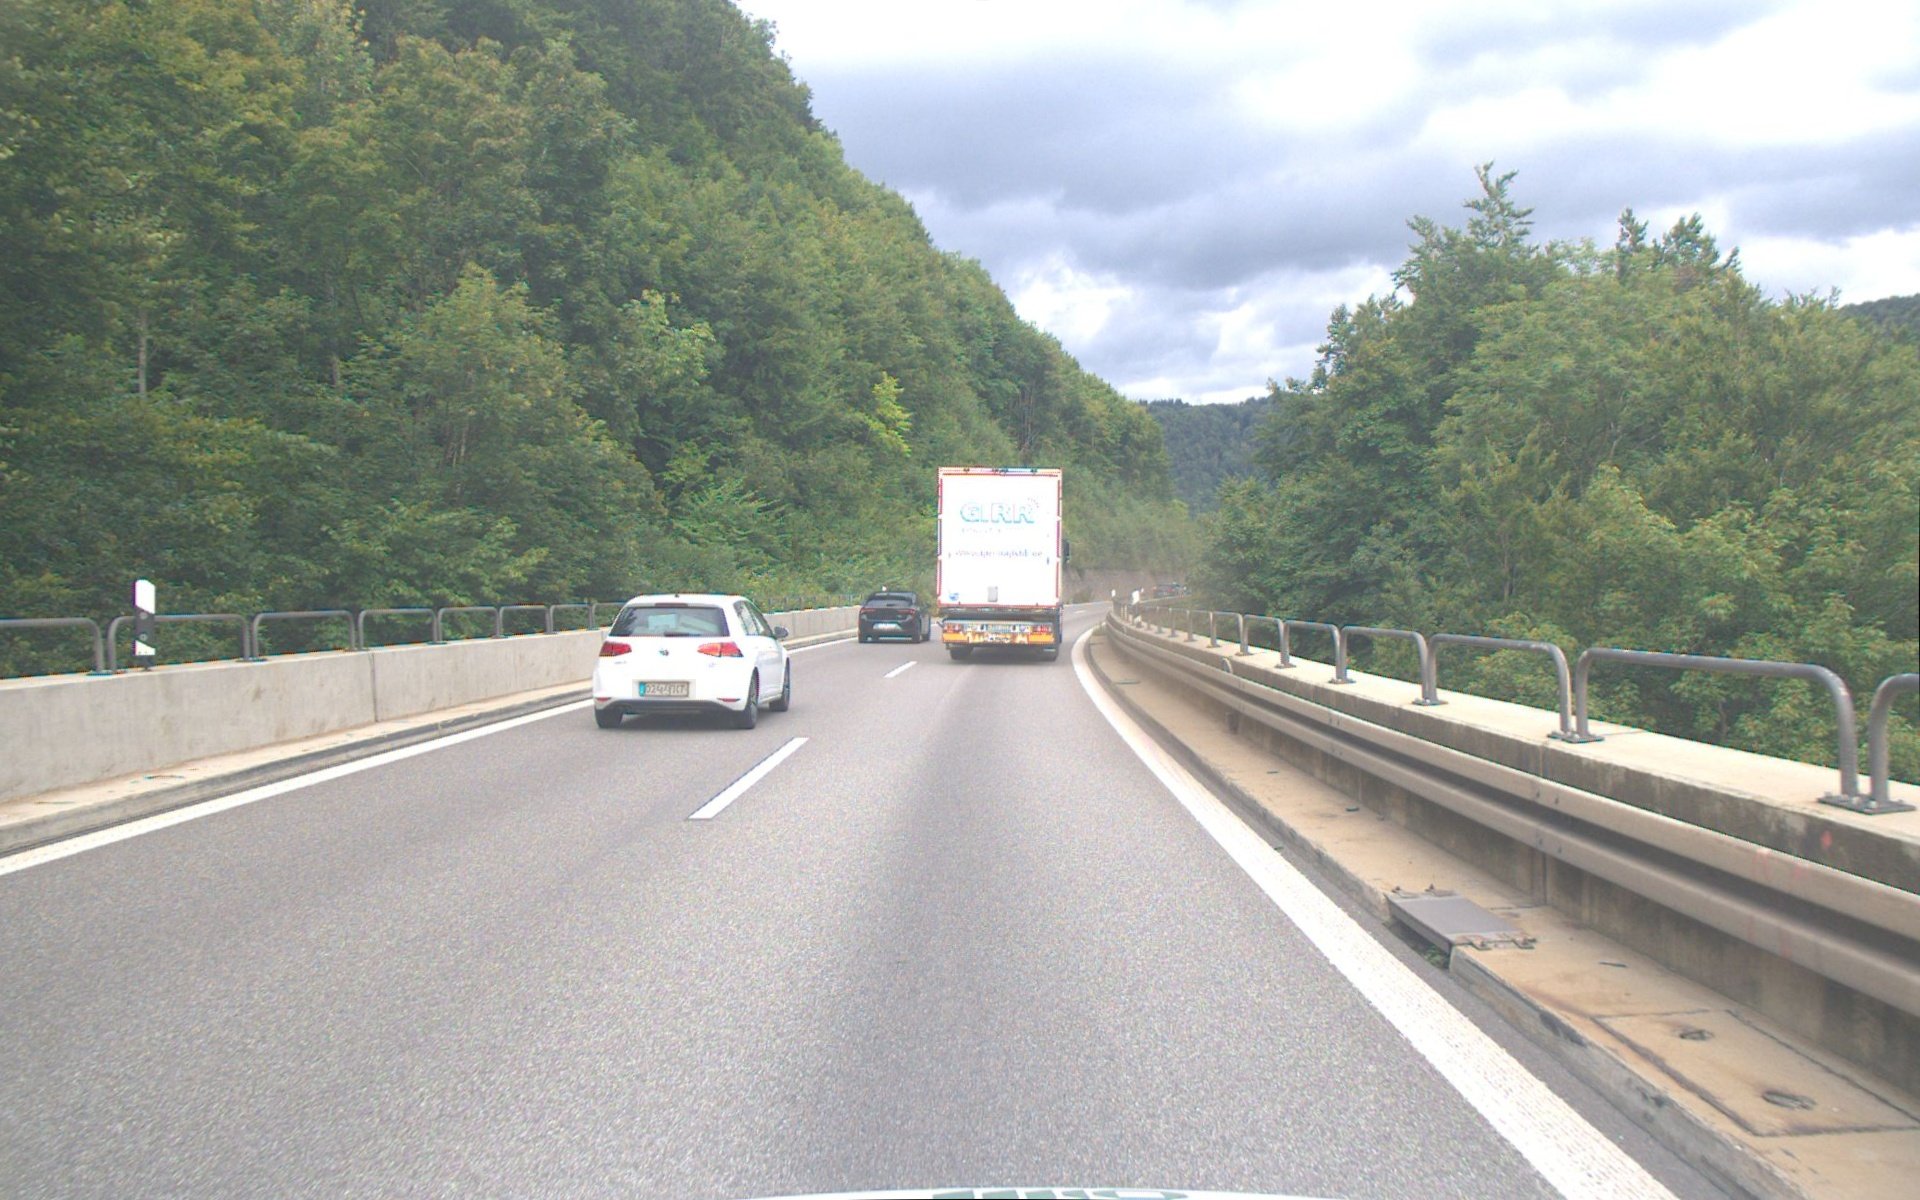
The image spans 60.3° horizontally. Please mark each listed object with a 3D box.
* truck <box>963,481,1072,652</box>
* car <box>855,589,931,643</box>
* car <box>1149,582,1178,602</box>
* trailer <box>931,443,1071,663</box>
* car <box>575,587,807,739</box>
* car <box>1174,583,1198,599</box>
[{"bbox_3d":[1.685,-0.832,45.969,2.754,4.378,6.261,-1,-1,4],"label":"truck"},{"bbox_3d":[-1.878,0.450,47.725,1.736,1.486,4.583,0,0,3],"label":"car"},{"bbox_3d":[17.673,-0.662,143.500,1.951,1.593,4.003,-1,-1,15],"label":"car"},{"bbox_3d":[1.238,-0.893,39.473,2.754,4.378,12.250,-1,-1,4],"label":"trailer"},{"bbox_3d":[-2.978,0.633,19.322,1.806,1.507,4.629,-1,1,2],"label":"car"},{"bbox_3d":[24.980,-0.994,182.583,1.951,1.814,4.002,1,0,17],"label":"car"}]
